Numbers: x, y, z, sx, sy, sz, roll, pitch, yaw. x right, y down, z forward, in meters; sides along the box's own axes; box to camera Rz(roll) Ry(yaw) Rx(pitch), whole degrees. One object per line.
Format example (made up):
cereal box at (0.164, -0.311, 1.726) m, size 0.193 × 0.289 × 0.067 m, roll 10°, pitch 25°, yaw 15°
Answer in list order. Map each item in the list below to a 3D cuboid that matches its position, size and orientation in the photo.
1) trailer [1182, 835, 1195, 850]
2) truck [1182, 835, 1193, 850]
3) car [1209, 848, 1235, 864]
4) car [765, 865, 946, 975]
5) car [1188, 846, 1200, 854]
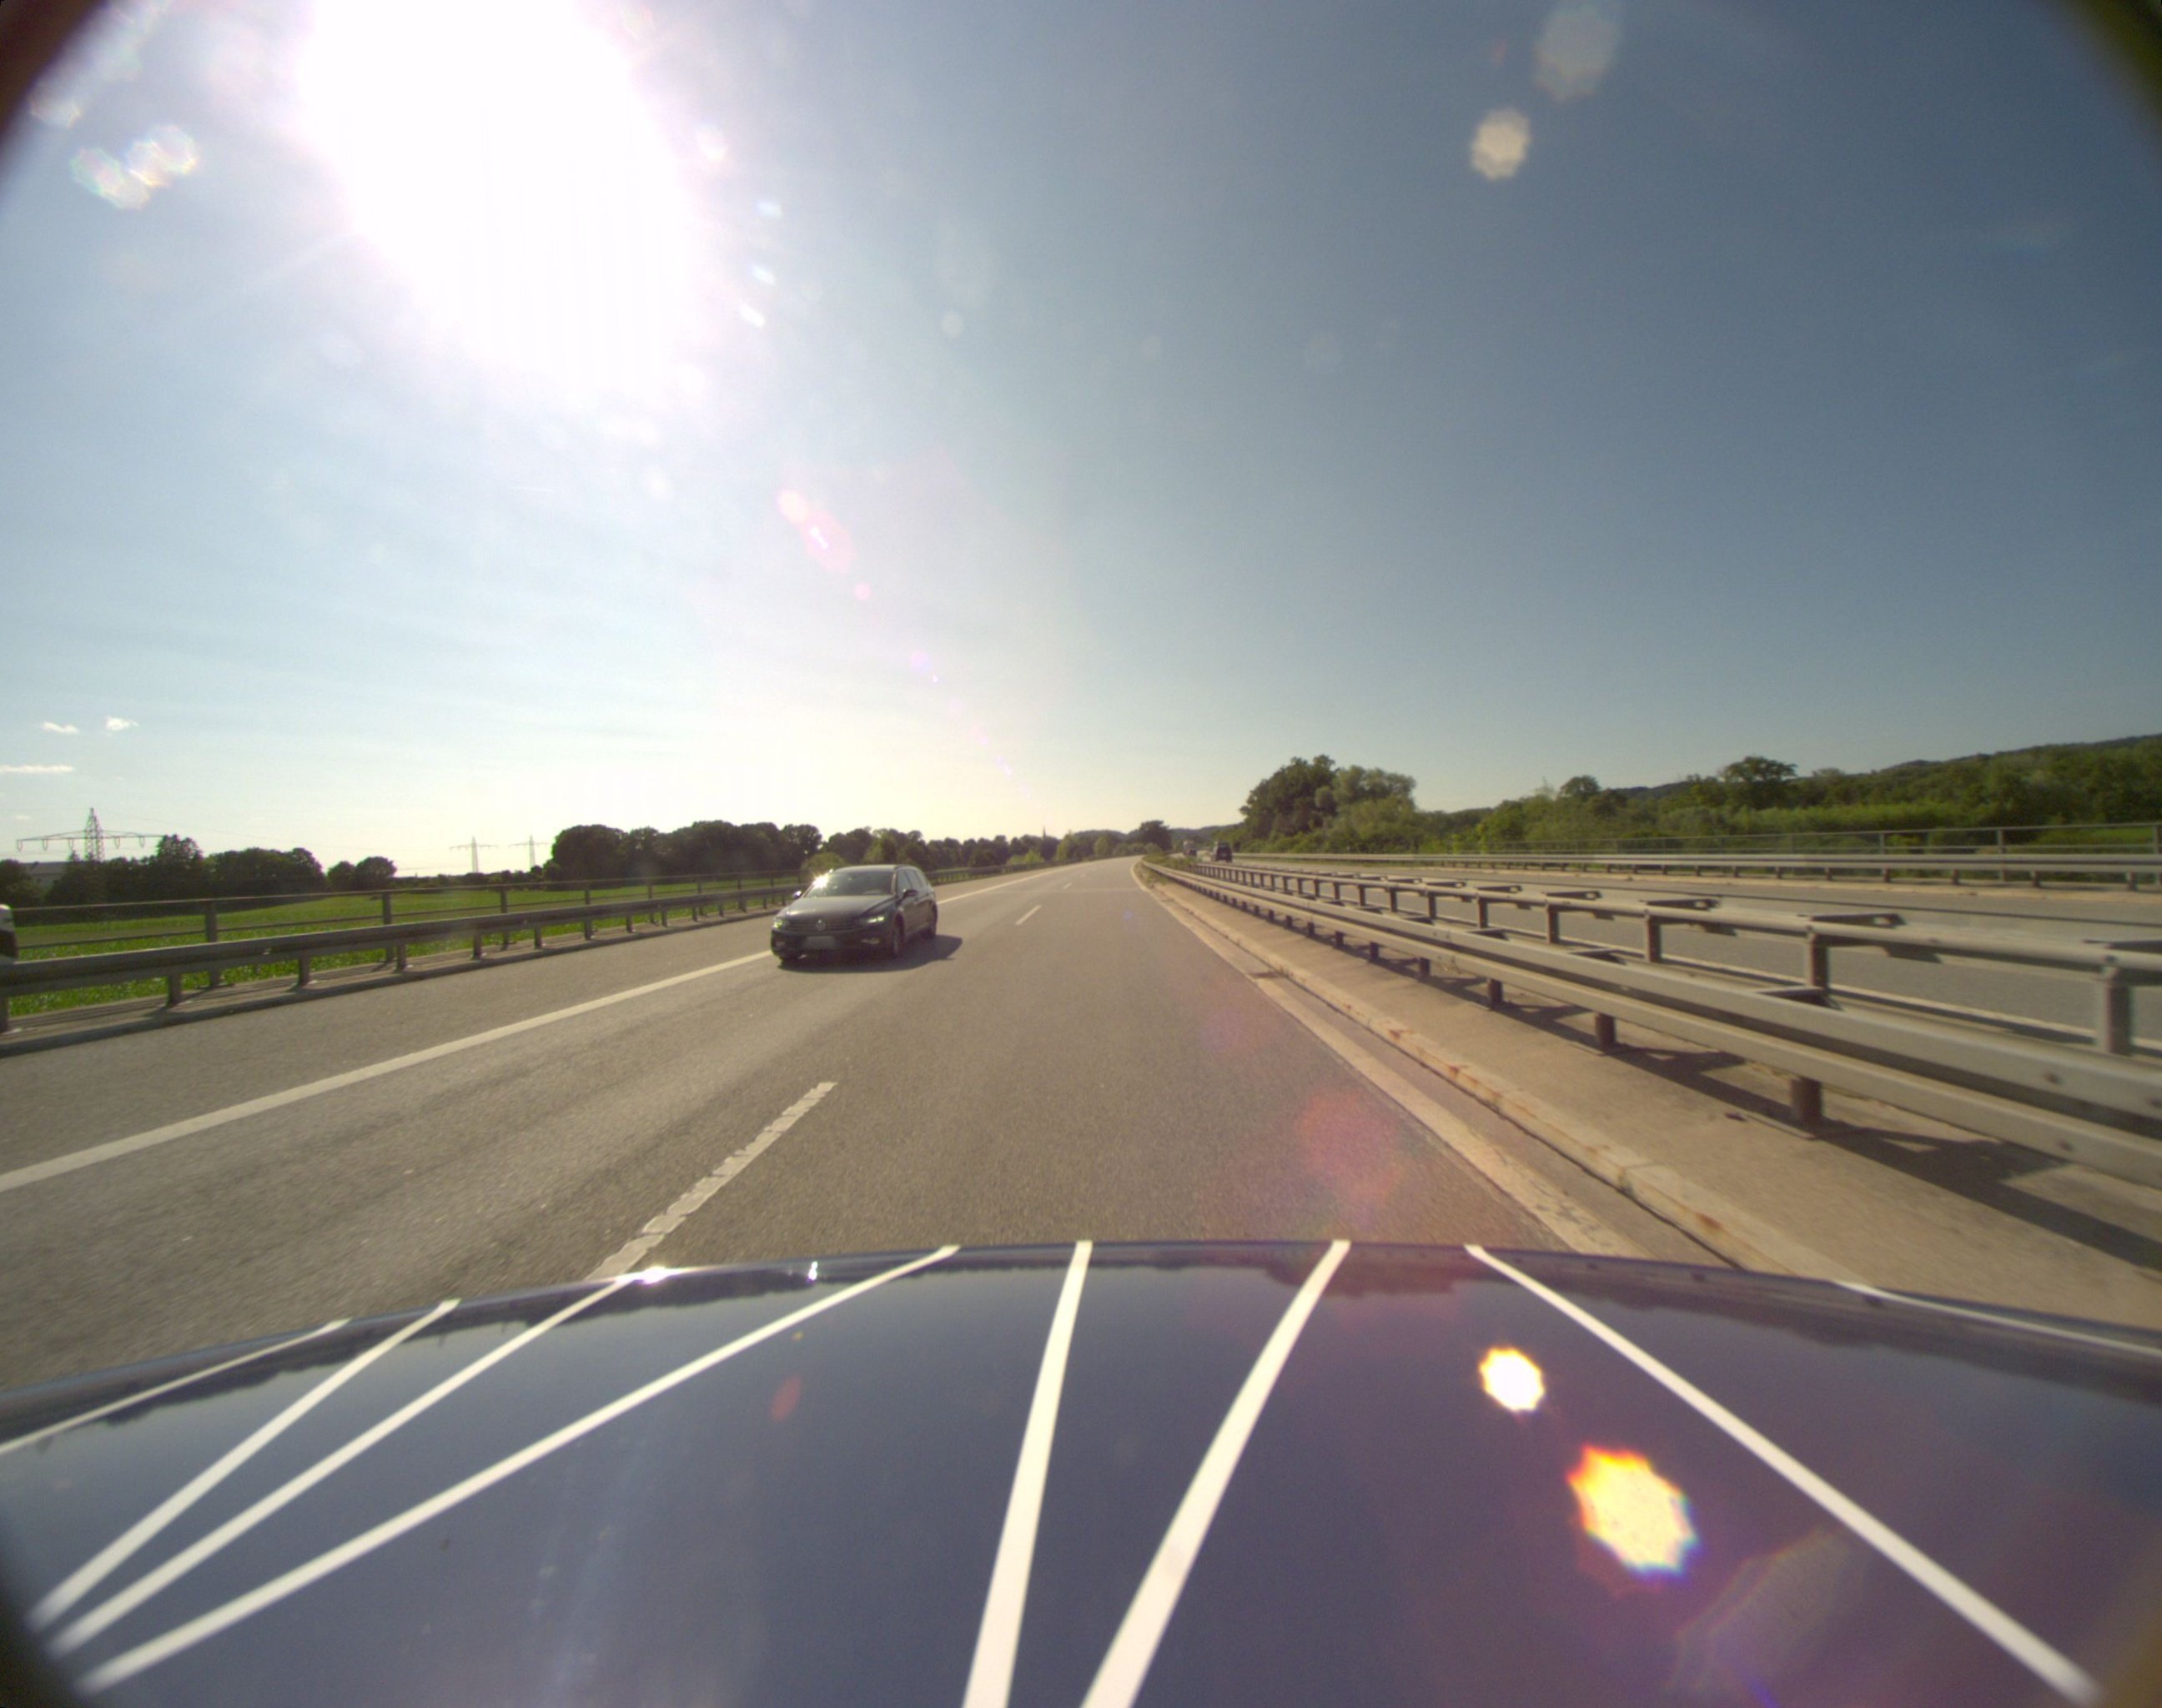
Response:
trailer at (26.959, -2.923, 191.043) m, size 2.747 × 3.705 × 10.916 m, roll -1°, pitch 1°, yaw 5°
truck at (27.640, -2.972, 197.689) m, size 2.746 × 3.705 × 5.974 m, roll -1°, pitch 1°, yaw 7°
car at (14.814, 0.182, 79.992) m, size 1.998 × 1.669 × 5.318 m, roll -1°, pitch 0°, yaw 2°
car at (-3.655, 0.988, 13.186) m, size 1.723 × 1.392 × 4.413 m, roll -2°, pitch 1°, yaw 1°
car at (21.969, -0.765, 148.090) m, size 1.998 × 1.545 × 4.420 m, roll -1°, pitch 0°, yaw 4°
